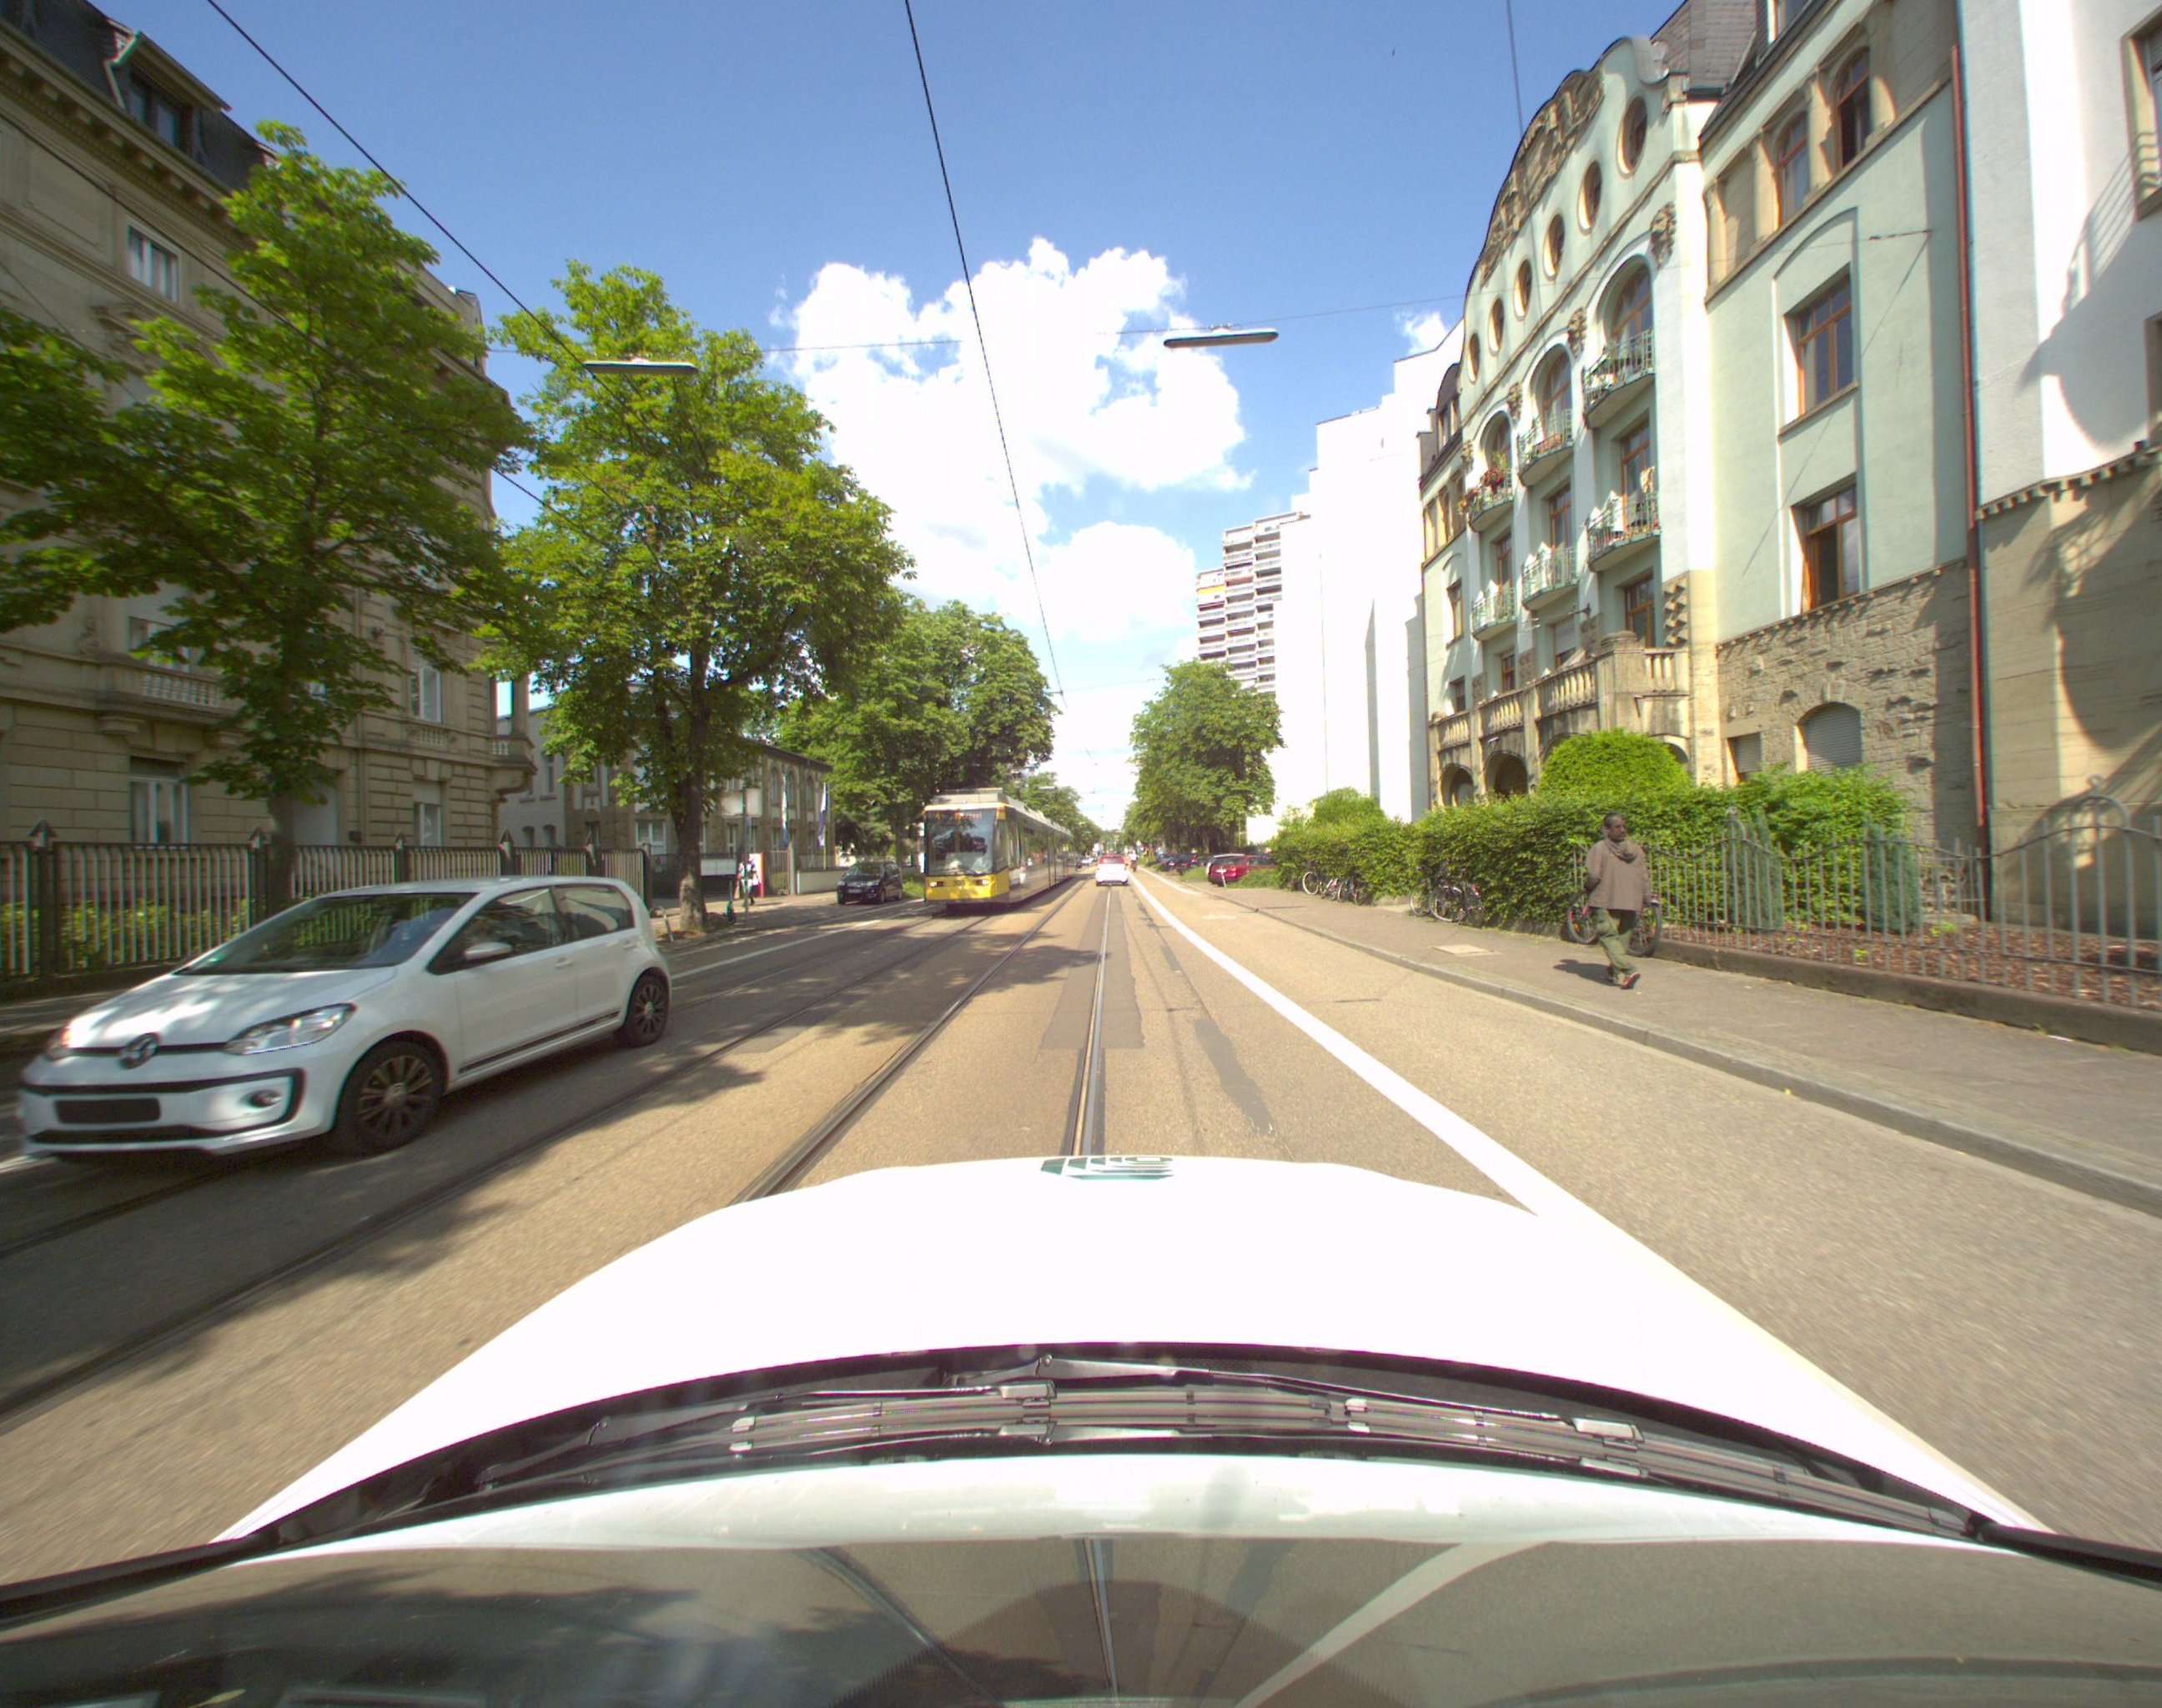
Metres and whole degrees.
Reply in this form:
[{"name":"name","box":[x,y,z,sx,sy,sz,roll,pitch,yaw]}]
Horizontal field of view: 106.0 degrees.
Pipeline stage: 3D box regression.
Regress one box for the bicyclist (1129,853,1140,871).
[{"name":"bicyclist","box":[4.613,0.666,70.412,0.885,1.529,1.087,0,-1,8]}]

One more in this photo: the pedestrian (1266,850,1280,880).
[{"name":"pedestrian","box":[12.243,0.721,51.994,0.756,1.873,1.004,-1,-1,8]}]

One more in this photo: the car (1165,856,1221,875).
[{"name":"car","box":[8.844,0.935,64.209,4.561,1.442,2.007,1,-1,-43]}]

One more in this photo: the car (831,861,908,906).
[{"name":"car","box":[-8.221,1.101,32.071,1.800,1.641,4.333,0,-1,1]}]

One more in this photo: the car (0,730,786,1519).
[{"name":"car","box":[-4.477,0.893,5.777,2.308,2.507,6.364,-2,0,1]}]

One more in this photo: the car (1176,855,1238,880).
[{"name":"car","box":[8.399,0.870,54.268,4.020,1.575,1.883,1,0,-40]}]

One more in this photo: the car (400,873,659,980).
[{"name":"car","box":[-8.941,1.086,13.653,1.648,1.485,3.809,1,-1,1]}]

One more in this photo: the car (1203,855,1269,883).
[{"name":"car","box":[8.515,0.795,44.605,4.023,1.461,1.517,0,-1,-44]}]

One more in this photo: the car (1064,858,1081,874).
[{"name":"car","box":[-0.981,1.365,94.491,1.819,1.727,4.392,-1,-1,1]}]

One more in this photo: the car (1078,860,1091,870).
[{"name":"car","box":[0.576,1.726,125.587,1.767,1.416,3.853,-4,-1,1]}]

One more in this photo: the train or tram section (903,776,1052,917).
[{"name":"train or tram section","box":[-2.867,-0.129,26.903,2.642,3.436,12.321,-3,-1,2]}]

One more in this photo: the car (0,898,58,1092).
[{"name":"car","box":[-9.265,1.117,4.566,1.619,1.472,4.208,1,1,3]}]

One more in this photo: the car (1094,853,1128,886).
[{"name":"car","box":[1.569,0.764,41.803,1.658,1.624,3.623,0,0,3]}]

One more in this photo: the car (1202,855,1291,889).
[{"name":"car","box":[7.761,0.800,38.056,4.182,1.423,1.844,-1,-1,-41]}]

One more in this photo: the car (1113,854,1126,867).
[{"name":"car","box":[4.947,0.805,104.880,1.659,1.624,3.622,-1,0,2]}]

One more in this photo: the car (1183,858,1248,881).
[{"name":"car","box":[8.532,0.965,51.324,4.199,1.349,1.882,1,-1,-43]}]

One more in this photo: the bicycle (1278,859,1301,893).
[{"name":"bicycle","box":[7.220,0.750,28.305,0.278,1.109,2.012,-5,-1,2]}]

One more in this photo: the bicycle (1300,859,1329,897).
[{"name":"bicycle","box":[7.096,0.713,24.787,0.278,1.109,2.012,-5,-1,2]}]

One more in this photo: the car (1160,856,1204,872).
[{"name":"car","box":[10.036,0.971,80.746,4.262,1.420,1.705,-1,1,-36]}]

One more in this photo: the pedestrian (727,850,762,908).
[{"name":"pedestrian","box":[-11.785,0.867,28.549,0.821,2.014,0.826,0,-1,1]}]

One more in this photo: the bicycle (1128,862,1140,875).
[{"name":"bicycle","box":[4.605,1.236,70.260,0.870,1.126,2.141,0,-1,8]}]

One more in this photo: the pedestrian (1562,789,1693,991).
[{"name":"pedestrian","box":[5.332,0.338,7.977,0.786,1.861,0.579,-3,-1,-5]}]

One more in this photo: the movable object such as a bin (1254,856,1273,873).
[{"name":"movable object such as a bin","box":[14.302,0.817,63.921,1.270,1.318,1.326,0,-1,2]}]

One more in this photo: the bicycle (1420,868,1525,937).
[{"name":"bicycle","box":[6.443,0.753,13.568,0.608,0.996,2.363,-4,-1,2]}]

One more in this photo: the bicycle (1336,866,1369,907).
[{"name":"bicycle","box":[6.893,0.807,20.722,0.272,0.907,1.669,-5,1,2]}]

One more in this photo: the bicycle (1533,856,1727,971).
[{"name":"bicycle","box":[6.649,0.659,10.092,0.737,1.231,2.517,-1,-1,2]}]

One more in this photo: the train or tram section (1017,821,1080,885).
[{"name":"train or tram section","box":[-1.785,0.026,51.386,2.642,3.356,14.116,-3,-1,2]}]

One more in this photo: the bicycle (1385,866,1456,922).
[{"name":"bicycle","box":[6.608,0.751,15.965,0.610,0.989,1.873,-3,-1,2]}]

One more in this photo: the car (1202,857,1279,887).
[{"name":"car","box":[8.109,0.889,41.222,4.021,1.448,1.679,0,-1,-41]}]

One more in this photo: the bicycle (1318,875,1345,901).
[{"name":"bicycle","box":[7.034,0.937,22.873,0.278,0.677,1.560,-5,-1,2]}]

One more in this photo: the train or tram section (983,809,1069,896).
[{"name":"train or tram section","box":[-2.313,-0.009,38.731,2.642,3.389,11.479,-3,-1,2]}]
